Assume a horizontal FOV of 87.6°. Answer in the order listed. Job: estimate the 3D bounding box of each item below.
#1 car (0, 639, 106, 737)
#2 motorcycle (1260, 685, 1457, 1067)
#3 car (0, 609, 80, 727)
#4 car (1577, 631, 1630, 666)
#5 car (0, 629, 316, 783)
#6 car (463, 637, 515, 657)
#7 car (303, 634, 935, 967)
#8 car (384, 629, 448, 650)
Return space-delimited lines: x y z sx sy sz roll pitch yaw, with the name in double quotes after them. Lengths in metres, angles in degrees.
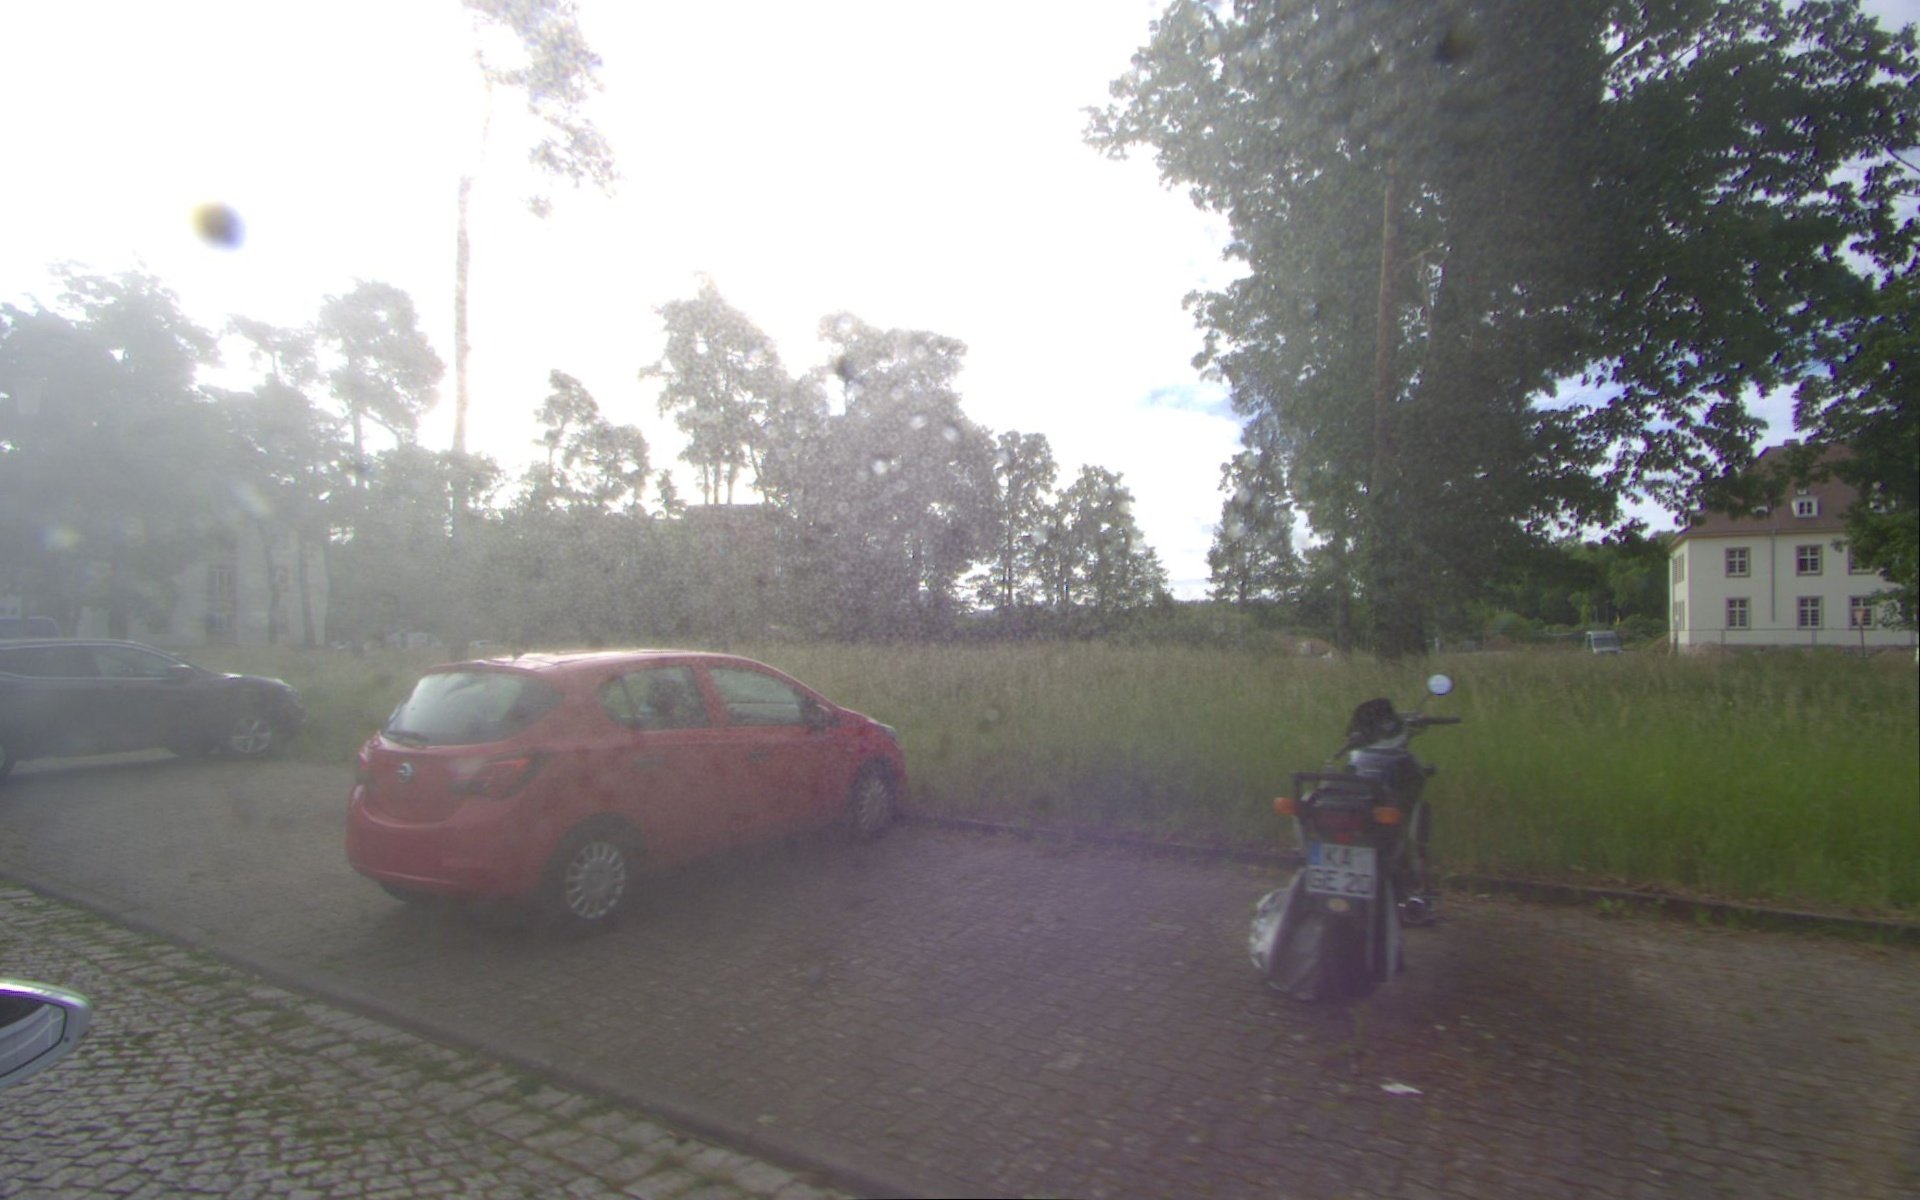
-15.978 1.375 15.334 1.695 1.498 4.094 -1 -1 29 "car"
1.947 1.077 4.684 0.559 1.217 2.228 -1 -1 29 "motorcycle"
-18.090 1.171 16.690 1.937 2.030 4.790 -1 -1 30 "car"
50.955 3.861 79.445 2.238 2.673 5.675 0 -3 19 "car"
-10.564 1.183 12.181 1.924 1.615 4.199 -1 -1 29 "car"
-45.464 4.555 96.744 1.874 1.826 4.127 -1 -4 33 "car"
-1.931 1.010 6.833 1.758 1.516 3.919 -1 -1 30 "car"
-55.028 4.034 101.389 2.076 2.044 5.294 -1 -4 32 "car"
